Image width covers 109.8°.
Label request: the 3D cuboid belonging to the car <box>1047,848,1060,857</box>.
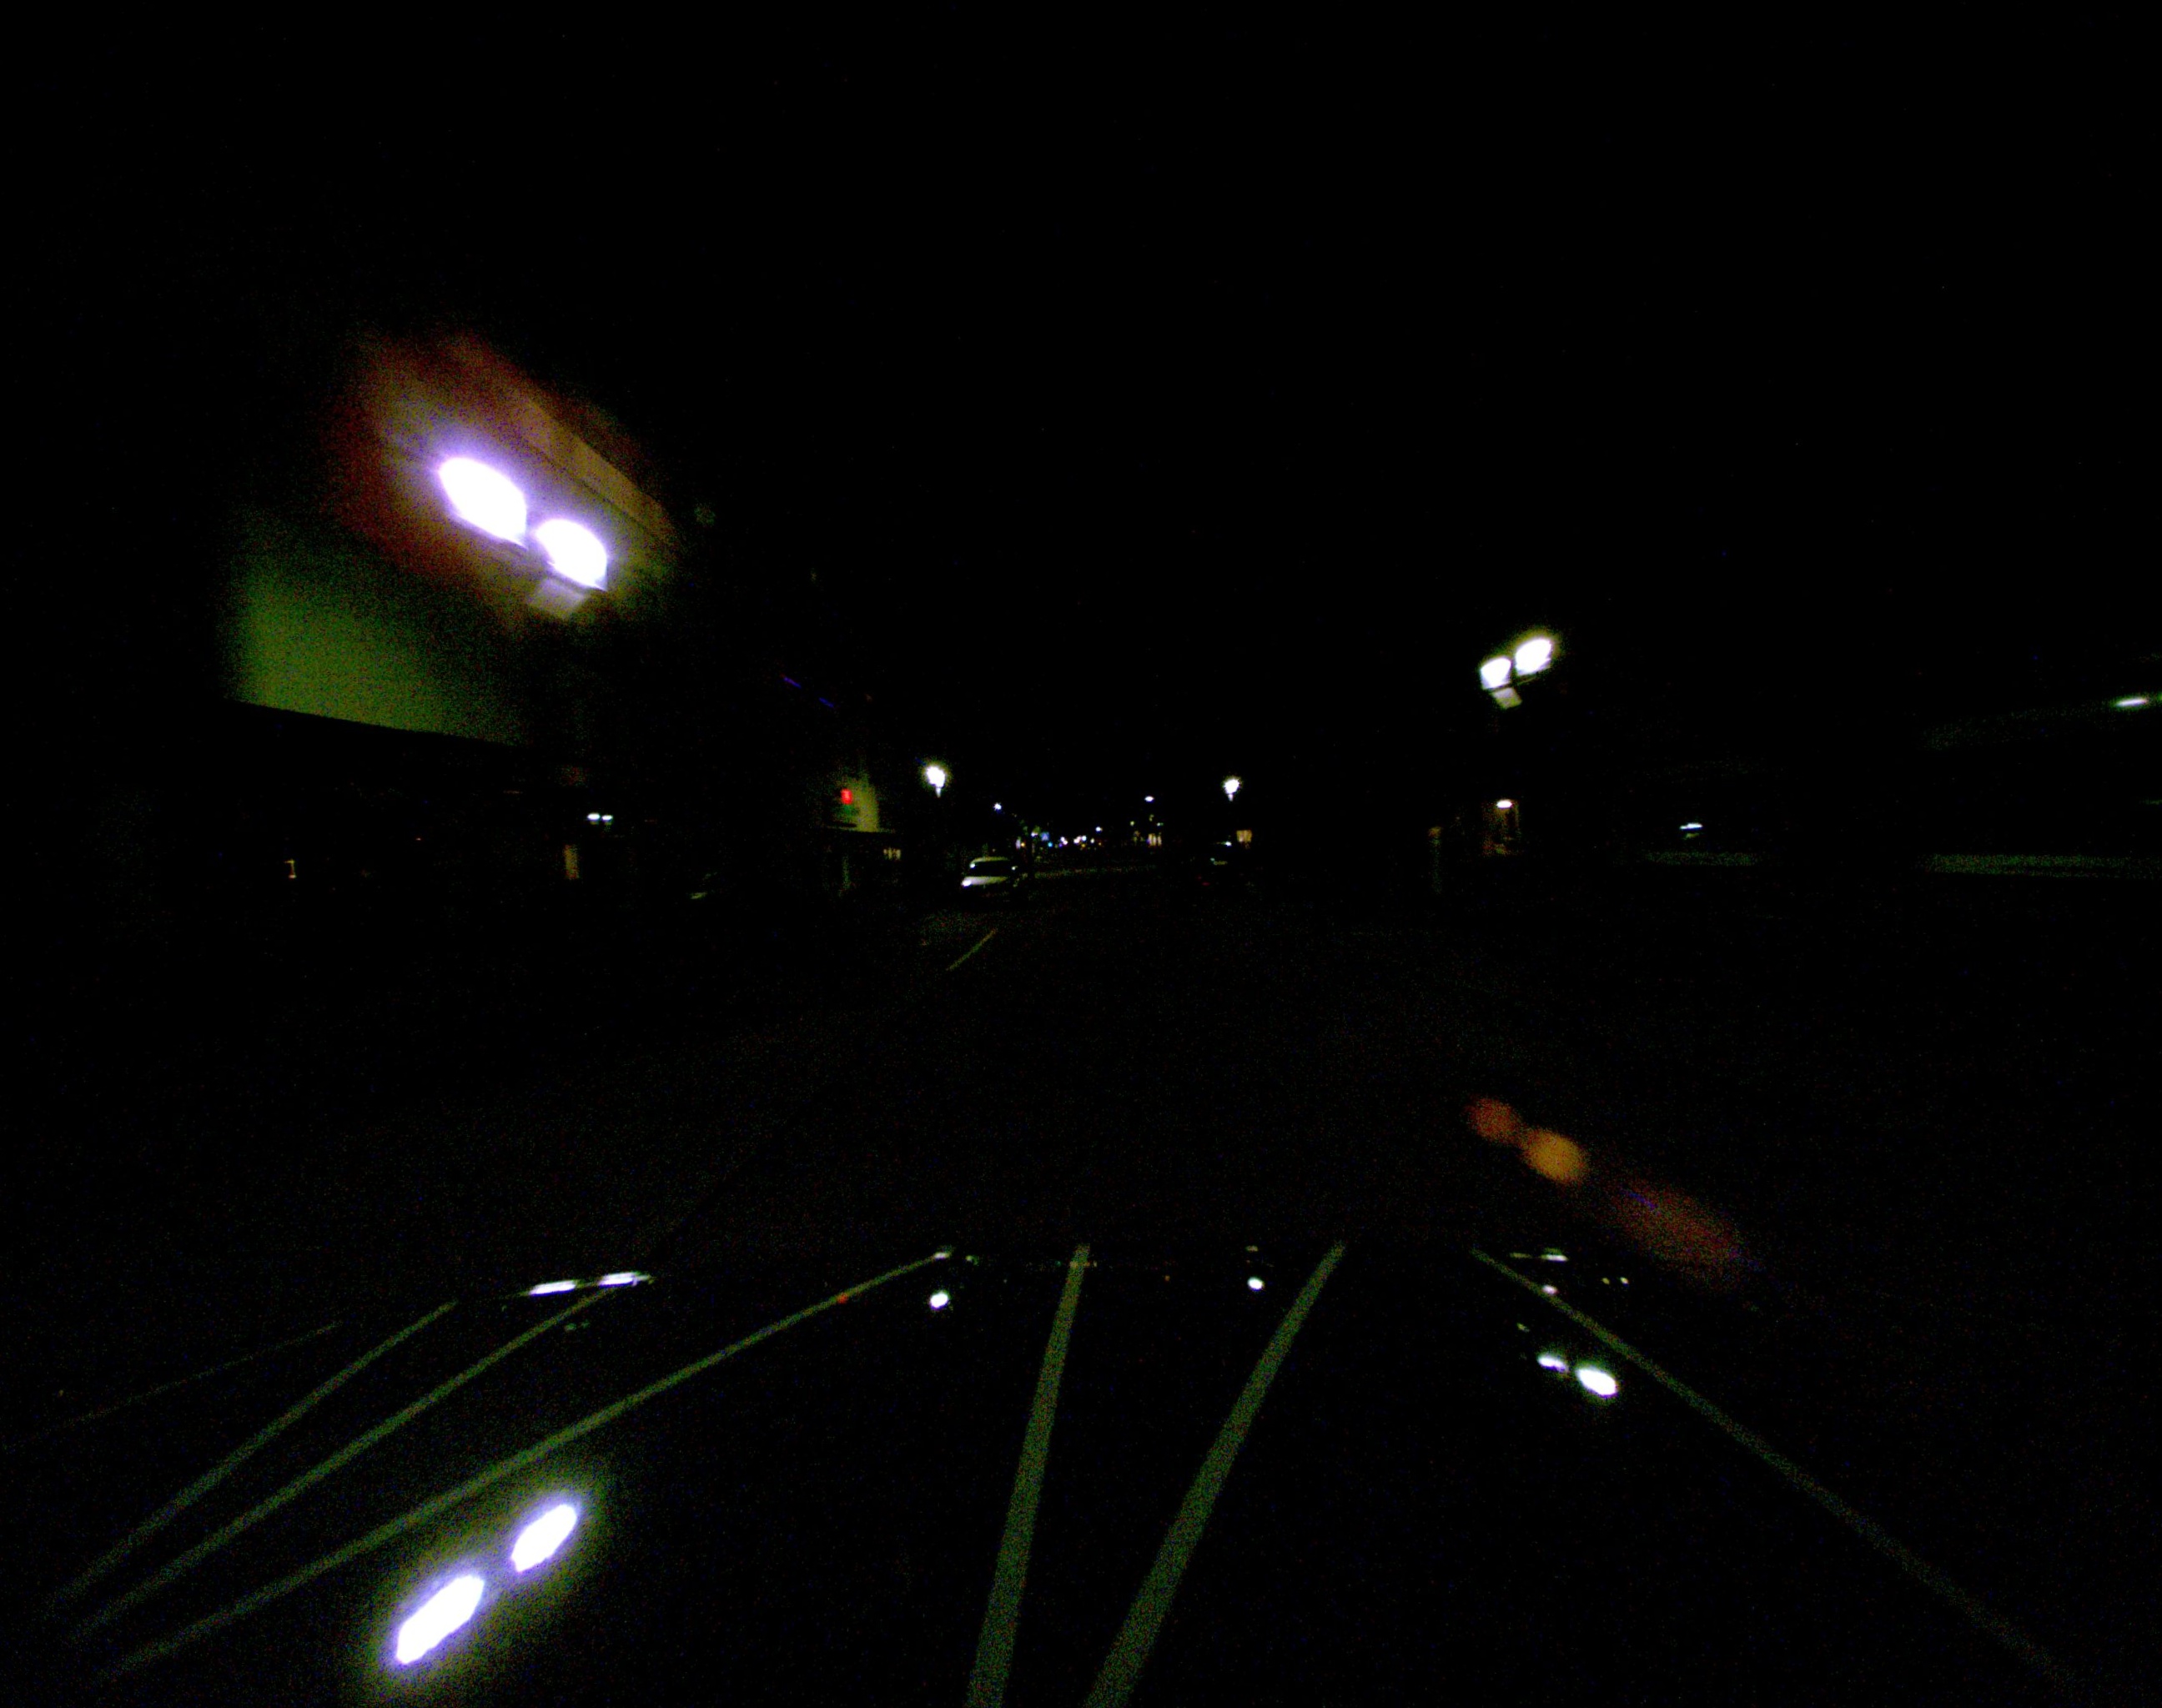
[{"bbox_3d":[-4.935,-0.306,135.639,1.748,1.479,4.631,-2,2,-8],"label":"car"}]

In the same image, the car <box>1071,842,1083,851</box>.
[{"bbox_3d":[-0.821,-1.539,156.542,1.776,1.565,4.478,-4,2,-9],"label":"car"}]

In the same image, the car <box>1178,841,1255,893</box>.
[{"bbox_3d":[5.055,0.425,28.989,2.023,1.681,5.002,-4,1,1],"label":"car"}]

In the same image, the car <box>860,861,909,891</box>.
[{"bbox_3d":[-11.409,1.246,44.395,1.809,1.452,4.055,2,2,-1],"label":"car"}]

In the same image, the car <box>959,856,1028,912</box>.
[{"bbox_3d":[-2.557,0.835,22.931,1.679,1.451,3.675,-2,1,-1],"label":"car"}]

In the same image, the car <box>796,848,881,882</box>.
[{"bbox_3d":[-15.766,0.715,49.649,4.858,1.856,1.933,4,2,-2],"label":"car"}]

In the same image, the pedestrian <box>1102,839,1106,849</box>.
[{"bbox_3d":[4.235,-1.791,139.167,0.502,1.812,0.503,-2,2,-8],"label":"pedestrian"}]

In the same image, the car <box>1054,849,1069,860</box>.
[{"bbox_3d":[-2.752,0.031,106.102,1.739,1.432,4.494,-2,1,-5],"label":"car"}]

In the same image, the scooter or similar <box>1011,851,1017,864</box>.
[{"bbox_3d":[-6.786,0.386,76.896,0.374,1.269,1.305,-2,2,1],"label":"scooter or similar"}]

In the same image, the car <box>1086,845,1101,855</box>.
[{"bbox_3d":[2.208,-0.713,139.774,1.765,1.628,4.809,-3,1,-11],"label":"car"}]

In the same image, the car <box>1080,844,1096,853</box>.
[{"bbox_3d":[1.291,-1.068,145.902,1.912,1.533,4.776,-4,1,-13],"label":"car"}]

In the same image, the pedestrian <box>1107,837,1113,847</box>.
[{"bbox_3d":[5.226,-2.198,139.200,0.794,1.807,1.022,-4,2,-8],"label":"pedestrian"}]
